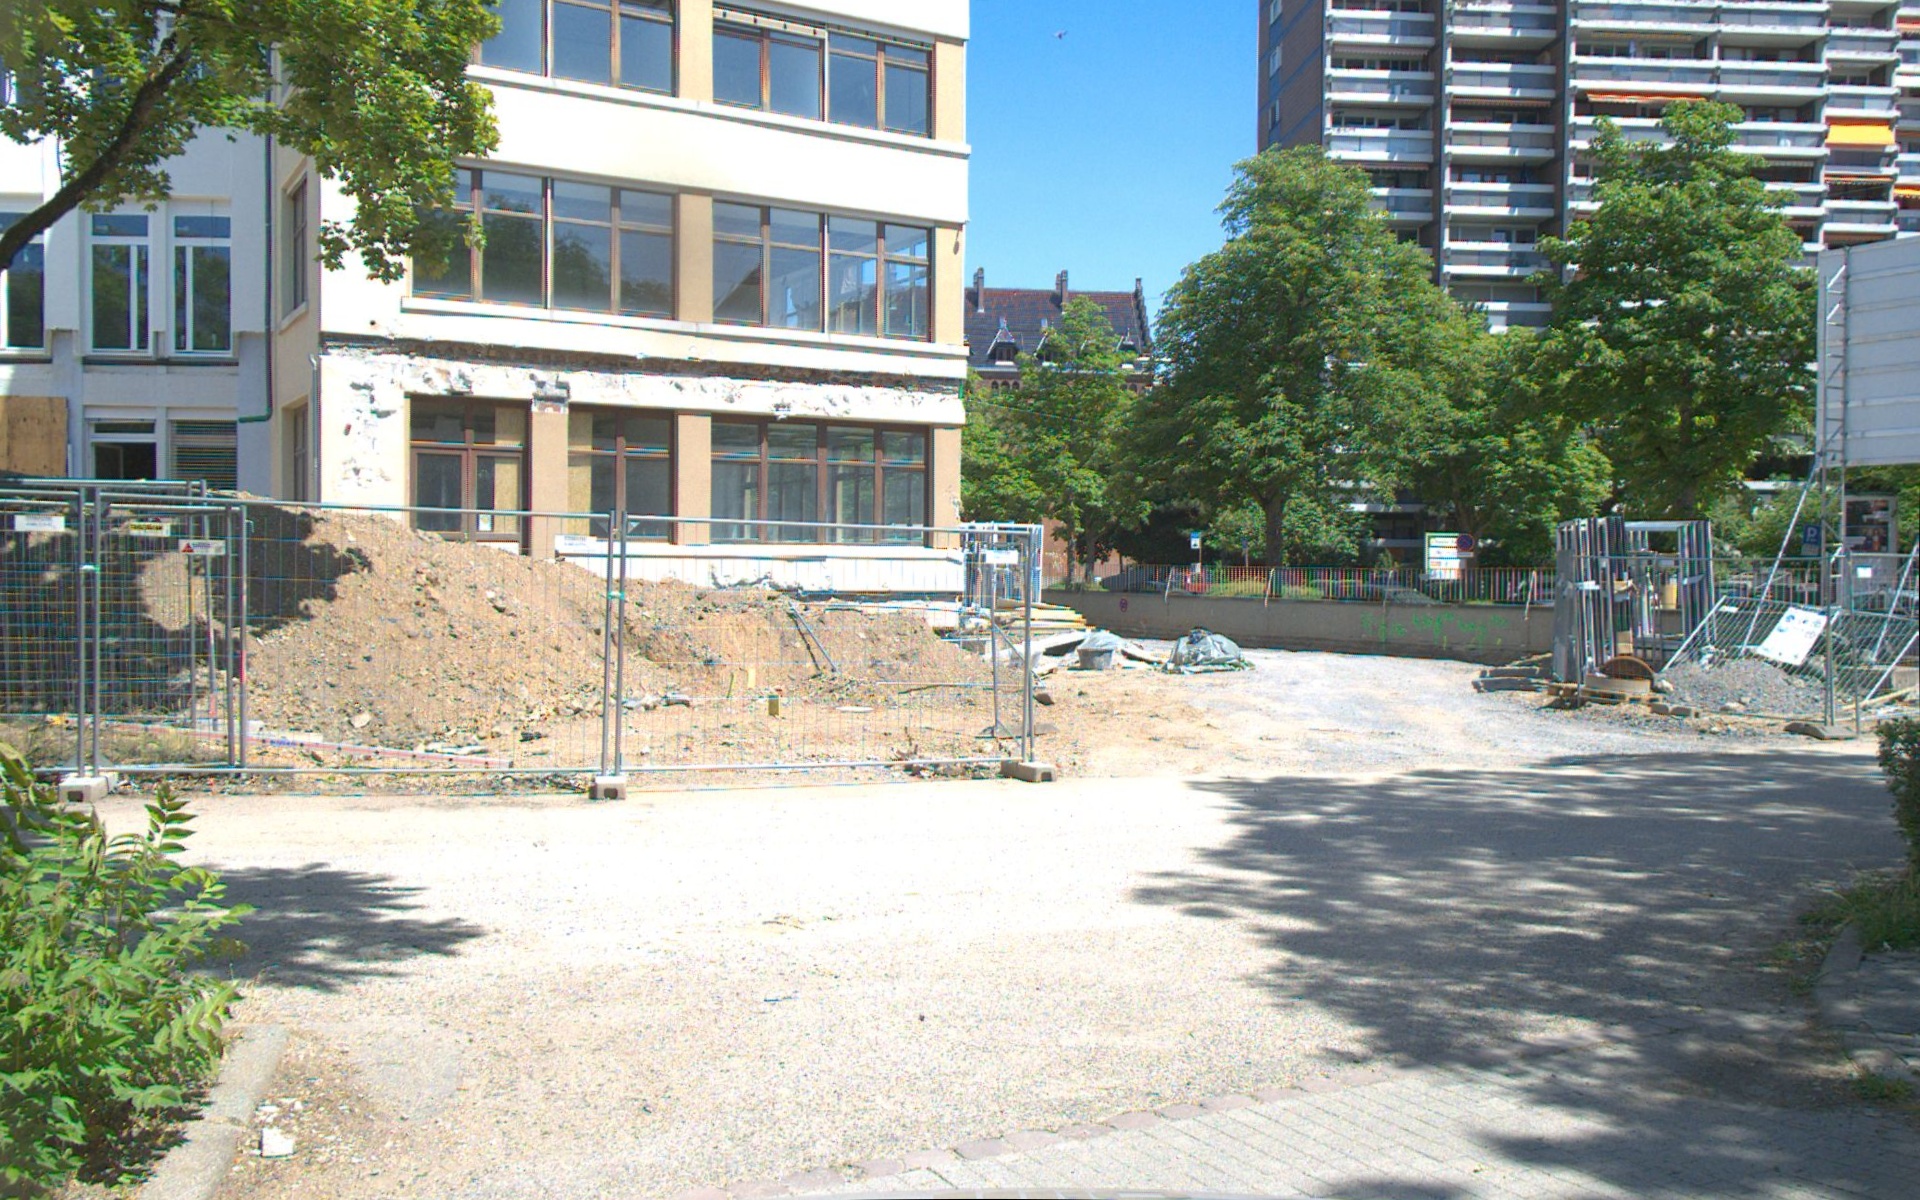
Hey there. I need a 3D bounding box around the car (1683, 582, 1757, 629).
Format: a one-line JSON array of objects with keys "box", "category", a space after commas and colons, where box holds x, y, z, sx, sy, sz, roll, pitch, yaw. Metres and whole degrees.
[{"box": [23.487, 0.150, 51.207, 1.598, 1.411, 3.680, 0, 1, 17], "category": "car"}]

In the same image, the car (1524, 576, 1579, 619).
[{"box": [20.438, -0.102, 57.219, 1.598, 1.411, 3.680, 0, 1, 17], "category": "car"}]

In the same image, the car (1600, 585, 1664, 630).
[{"box": [22.008, 0.226, 54.242, 1.598, 1.411, 3.680, 0, 1, 17], "category": "car"}]

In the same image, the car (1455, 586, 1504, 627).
[{"box": [18.446, 0.199, 58.833, 1.598, 1.411, 3.680, 0, 1, 17], "category": "car"}]

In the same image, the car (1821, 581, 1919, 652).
[{"box": [20.933, 0.349, 35.462, 1.741, 1.489, 4.102, 0, 1, -30], "category": "car"}]
